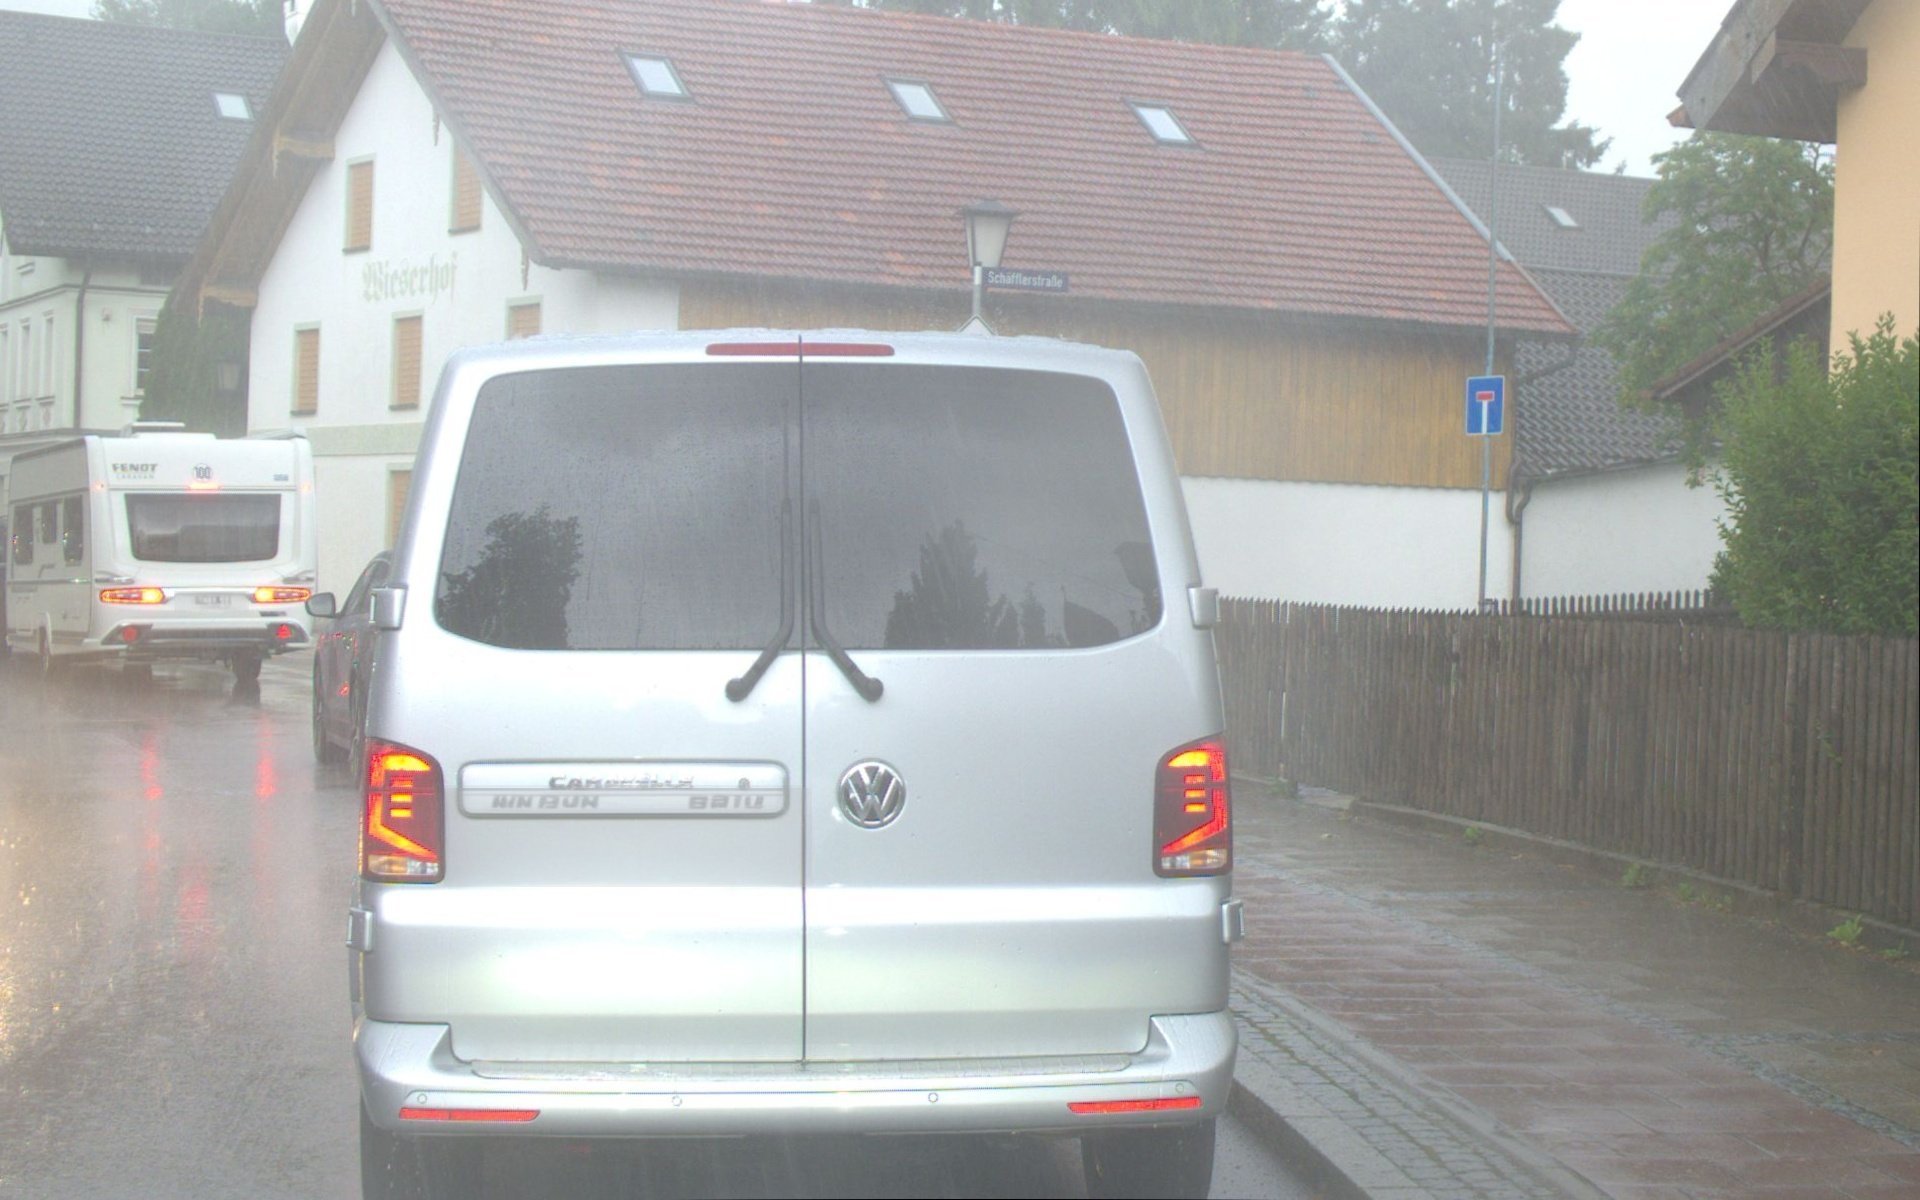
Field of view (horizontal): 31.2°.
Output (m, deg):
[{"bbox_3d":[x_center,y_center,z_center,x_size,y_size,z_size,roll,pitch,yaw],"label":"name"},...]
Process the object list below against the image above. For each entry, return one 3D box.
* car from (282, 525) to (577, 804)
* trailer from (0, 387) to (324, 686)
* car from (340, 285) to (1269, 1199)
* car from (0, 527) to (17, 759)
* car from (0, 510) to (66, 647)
[{"bbox_3d":[-3.565,0.330,22.812,1.708,1.578,4.687,-1,2,-10],"label":"car"},{"bbox_3d":[-8.614,-0.664,36.557,2.270,2.894,6.134,0,1,-24],"label":"trailer"},{"bbox_3d":[-0.431,0.346,9.122,1.776,1.956,5.075,0,1,-3],"label":"car"},{"bbox_3d":[-8.504,0.309,26.173,1.753,1.672,4.000,-1,1,-27],"label":"car"},{"bbox_3d":[-14.641,-0.344,49.937,2.168,1.893,5.015,2,0,-26],"label":"car"}]
